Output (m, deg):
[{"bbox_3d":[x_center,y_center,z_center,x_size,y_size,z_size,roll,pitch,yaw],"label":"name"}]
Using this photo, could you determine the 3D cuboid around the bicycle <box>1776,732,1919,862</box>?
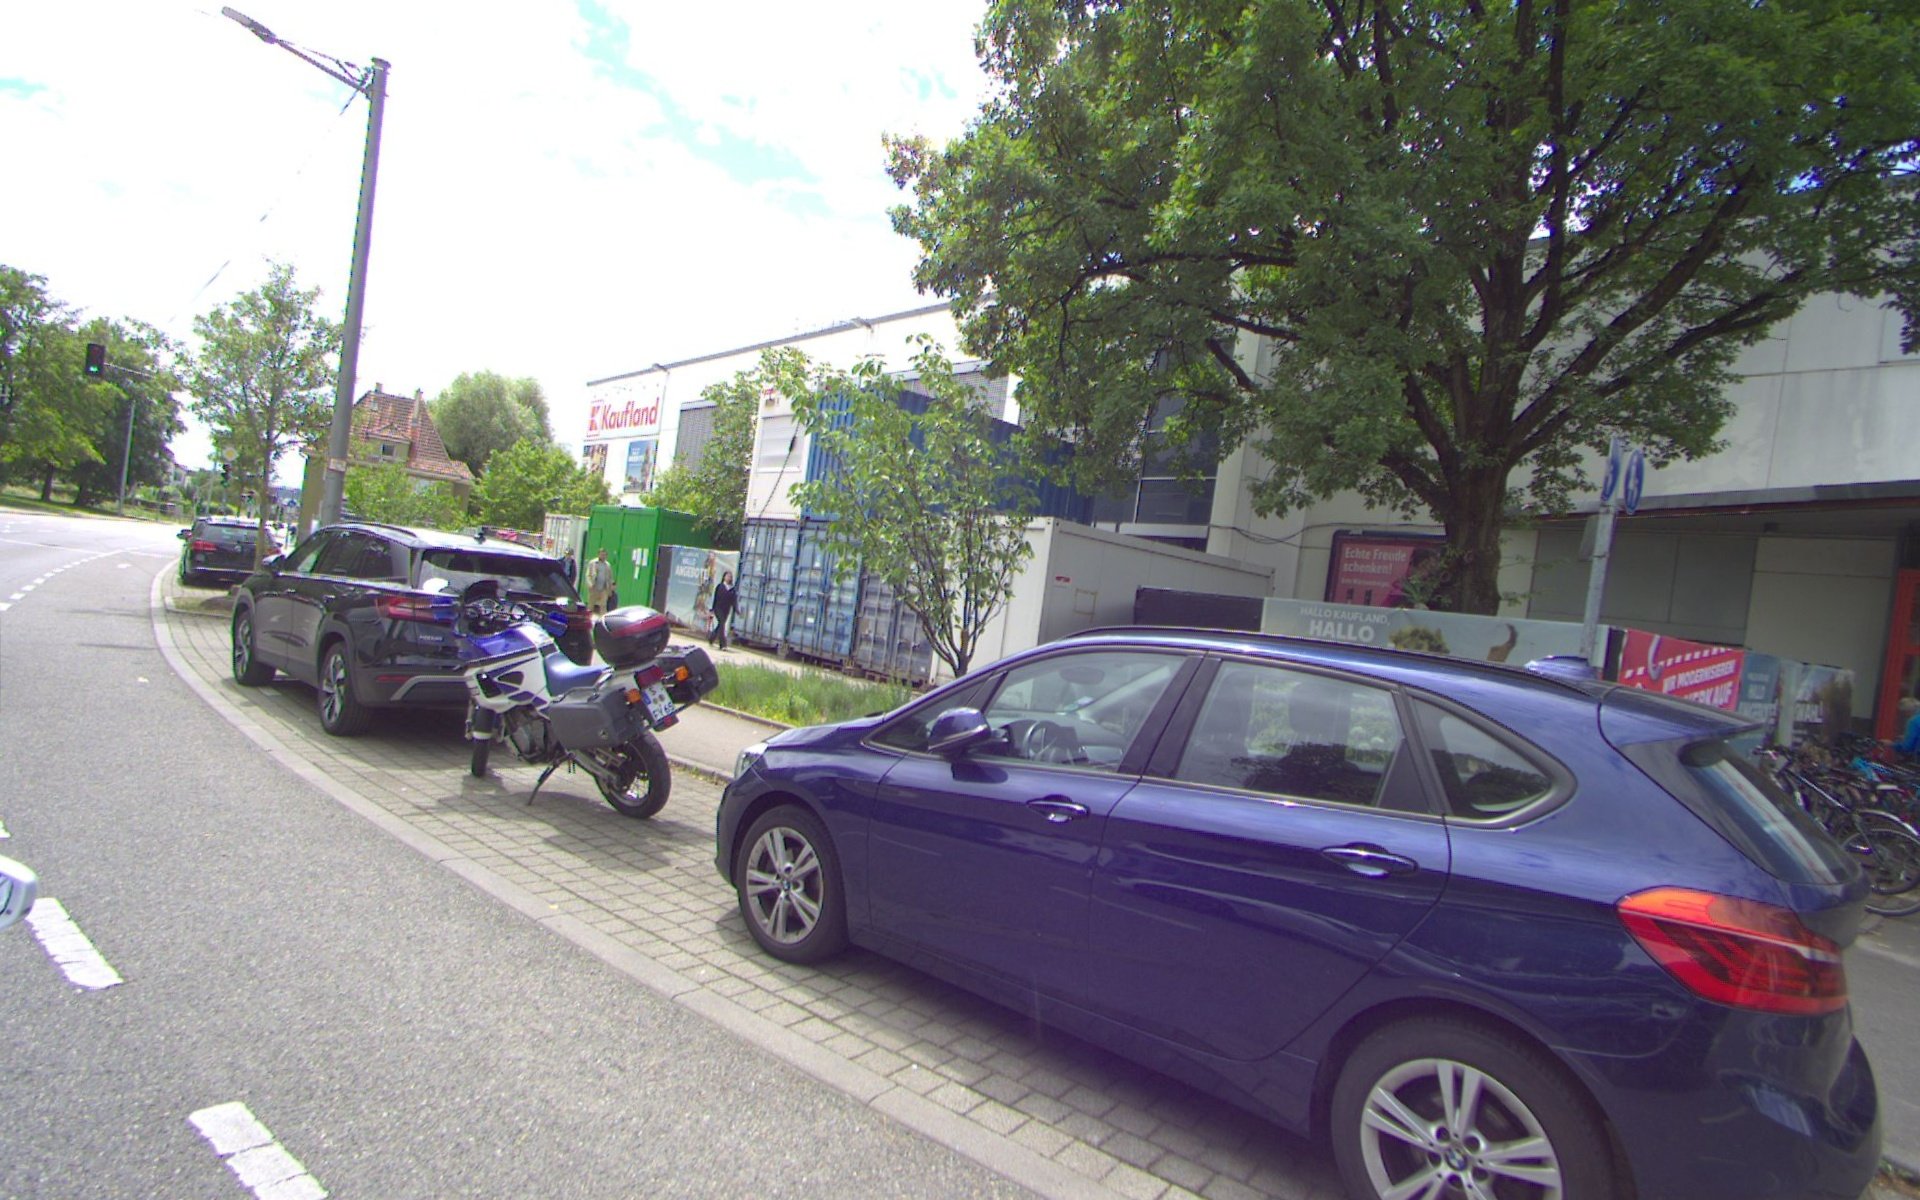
[{"bbox_3d":[10.106,2.171,10.950,0.437,1.169,1.748,7,-1,-40],"label":"bicycle"}]

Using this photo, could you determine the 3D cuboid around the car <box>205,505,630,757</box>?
[{"bbox_3d":[-5.159,0.132,9.202,4.780,1.642,1.875,7,1,42],"label":"car"}]

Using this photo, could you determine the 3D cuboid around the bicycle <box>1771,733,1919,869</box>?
[{"bbox_3d":[9.614,2.114,10.493,0.422,1.169,1.644,7,-1,-38],"label":"bicycle"}]

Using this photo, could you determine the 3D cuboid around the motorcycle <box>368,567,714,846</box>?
[{"bbox_3d":[-2.717,0.562,6.384,2.228,1.323,1.069,7,2,40],"label":"motorcycle"}]

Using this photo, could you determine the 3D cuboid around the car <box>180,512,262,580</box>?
[{"bbox_3d":[-19.884,-1.479,27.069,1.560,1.511,3.959,6,0,-37],"label":"car"}]

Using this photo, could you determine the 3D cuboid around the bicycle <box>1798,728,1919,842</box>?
[{"bbox_3d":[11.511,2.305,12.206,0.525,1.169,1.895,7,-1,-35],"label":"bicycle"}]

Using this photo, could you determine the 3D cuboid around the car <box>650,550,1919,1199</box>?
[{"bbox_3d":[0.893,0.820,4.030,4.366,1.598,1.914,7,1,40],"label":"car"}]

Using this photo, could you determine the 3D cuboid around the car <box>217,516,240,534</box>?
[{"bbox_3d":[-78.428,-8.052,107.823,1.823,1.637,4.110,7,0,-36],"label":"car"}]

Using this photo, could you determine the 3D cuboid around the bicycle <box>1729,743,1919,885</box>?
[{"bbox_3d":[8.680,2.072,9.778,1.778,1.053,0.518,7,1,45],"label":"bicycle"}]

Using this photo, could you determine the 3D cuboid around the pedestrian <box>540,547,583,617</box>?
[{"bbox_3d":[-10.424,-0.468,26.321,0.649,1.718,0.835,7,0,-40],"label":"pedestrian"}]

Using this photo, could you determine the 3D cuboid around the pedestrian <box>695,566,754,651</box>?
[{"bbox_3d":[-4.896,0.183,20.889,0.740,1.637,0.759,7,0,-40],"label":"pedestrian"}]

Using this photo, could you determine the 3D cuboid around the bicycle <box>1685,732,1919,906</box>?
[{"bbox_3d":[7.759,1.934,9.152,0.495,1.169,1.763,7,-1,-24],"label":"bicycle"}]

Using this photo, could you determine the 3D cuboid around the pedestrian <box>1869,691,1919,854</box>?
[{"bbox_3d":[11.027,1.978,11.463,0.618,1.779,0.740,4,2,-37],"label":"pedestrian"}]

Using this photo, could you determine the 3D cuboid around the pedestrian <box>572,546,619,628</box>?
[{"bbox_3d":[-8.047,-0.295,22.199,0.647,1.717,0.718,7,0,-35],"label":"pedestrian"}]

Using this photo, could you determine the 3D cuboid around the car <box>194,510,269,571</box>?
[{"bbox_3d":[-22.987,-1.881,31.686,1.727,1.637,4.342,4,1,-37],"label":"car"}]

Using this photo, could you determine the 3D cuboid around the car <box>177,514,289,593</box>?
[{"bbox_3d":[-16.814,-1.115,23.172,1.755,1.496,4.881,4,1,-39],"label":"car"}]

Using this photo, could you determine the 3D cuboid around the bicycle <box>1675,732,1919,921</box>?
[{"bbox_3d":[7.131,1.836,8.397,0.446,1.169,1.778,7,-1,-28],"label":"bicycle"}]
